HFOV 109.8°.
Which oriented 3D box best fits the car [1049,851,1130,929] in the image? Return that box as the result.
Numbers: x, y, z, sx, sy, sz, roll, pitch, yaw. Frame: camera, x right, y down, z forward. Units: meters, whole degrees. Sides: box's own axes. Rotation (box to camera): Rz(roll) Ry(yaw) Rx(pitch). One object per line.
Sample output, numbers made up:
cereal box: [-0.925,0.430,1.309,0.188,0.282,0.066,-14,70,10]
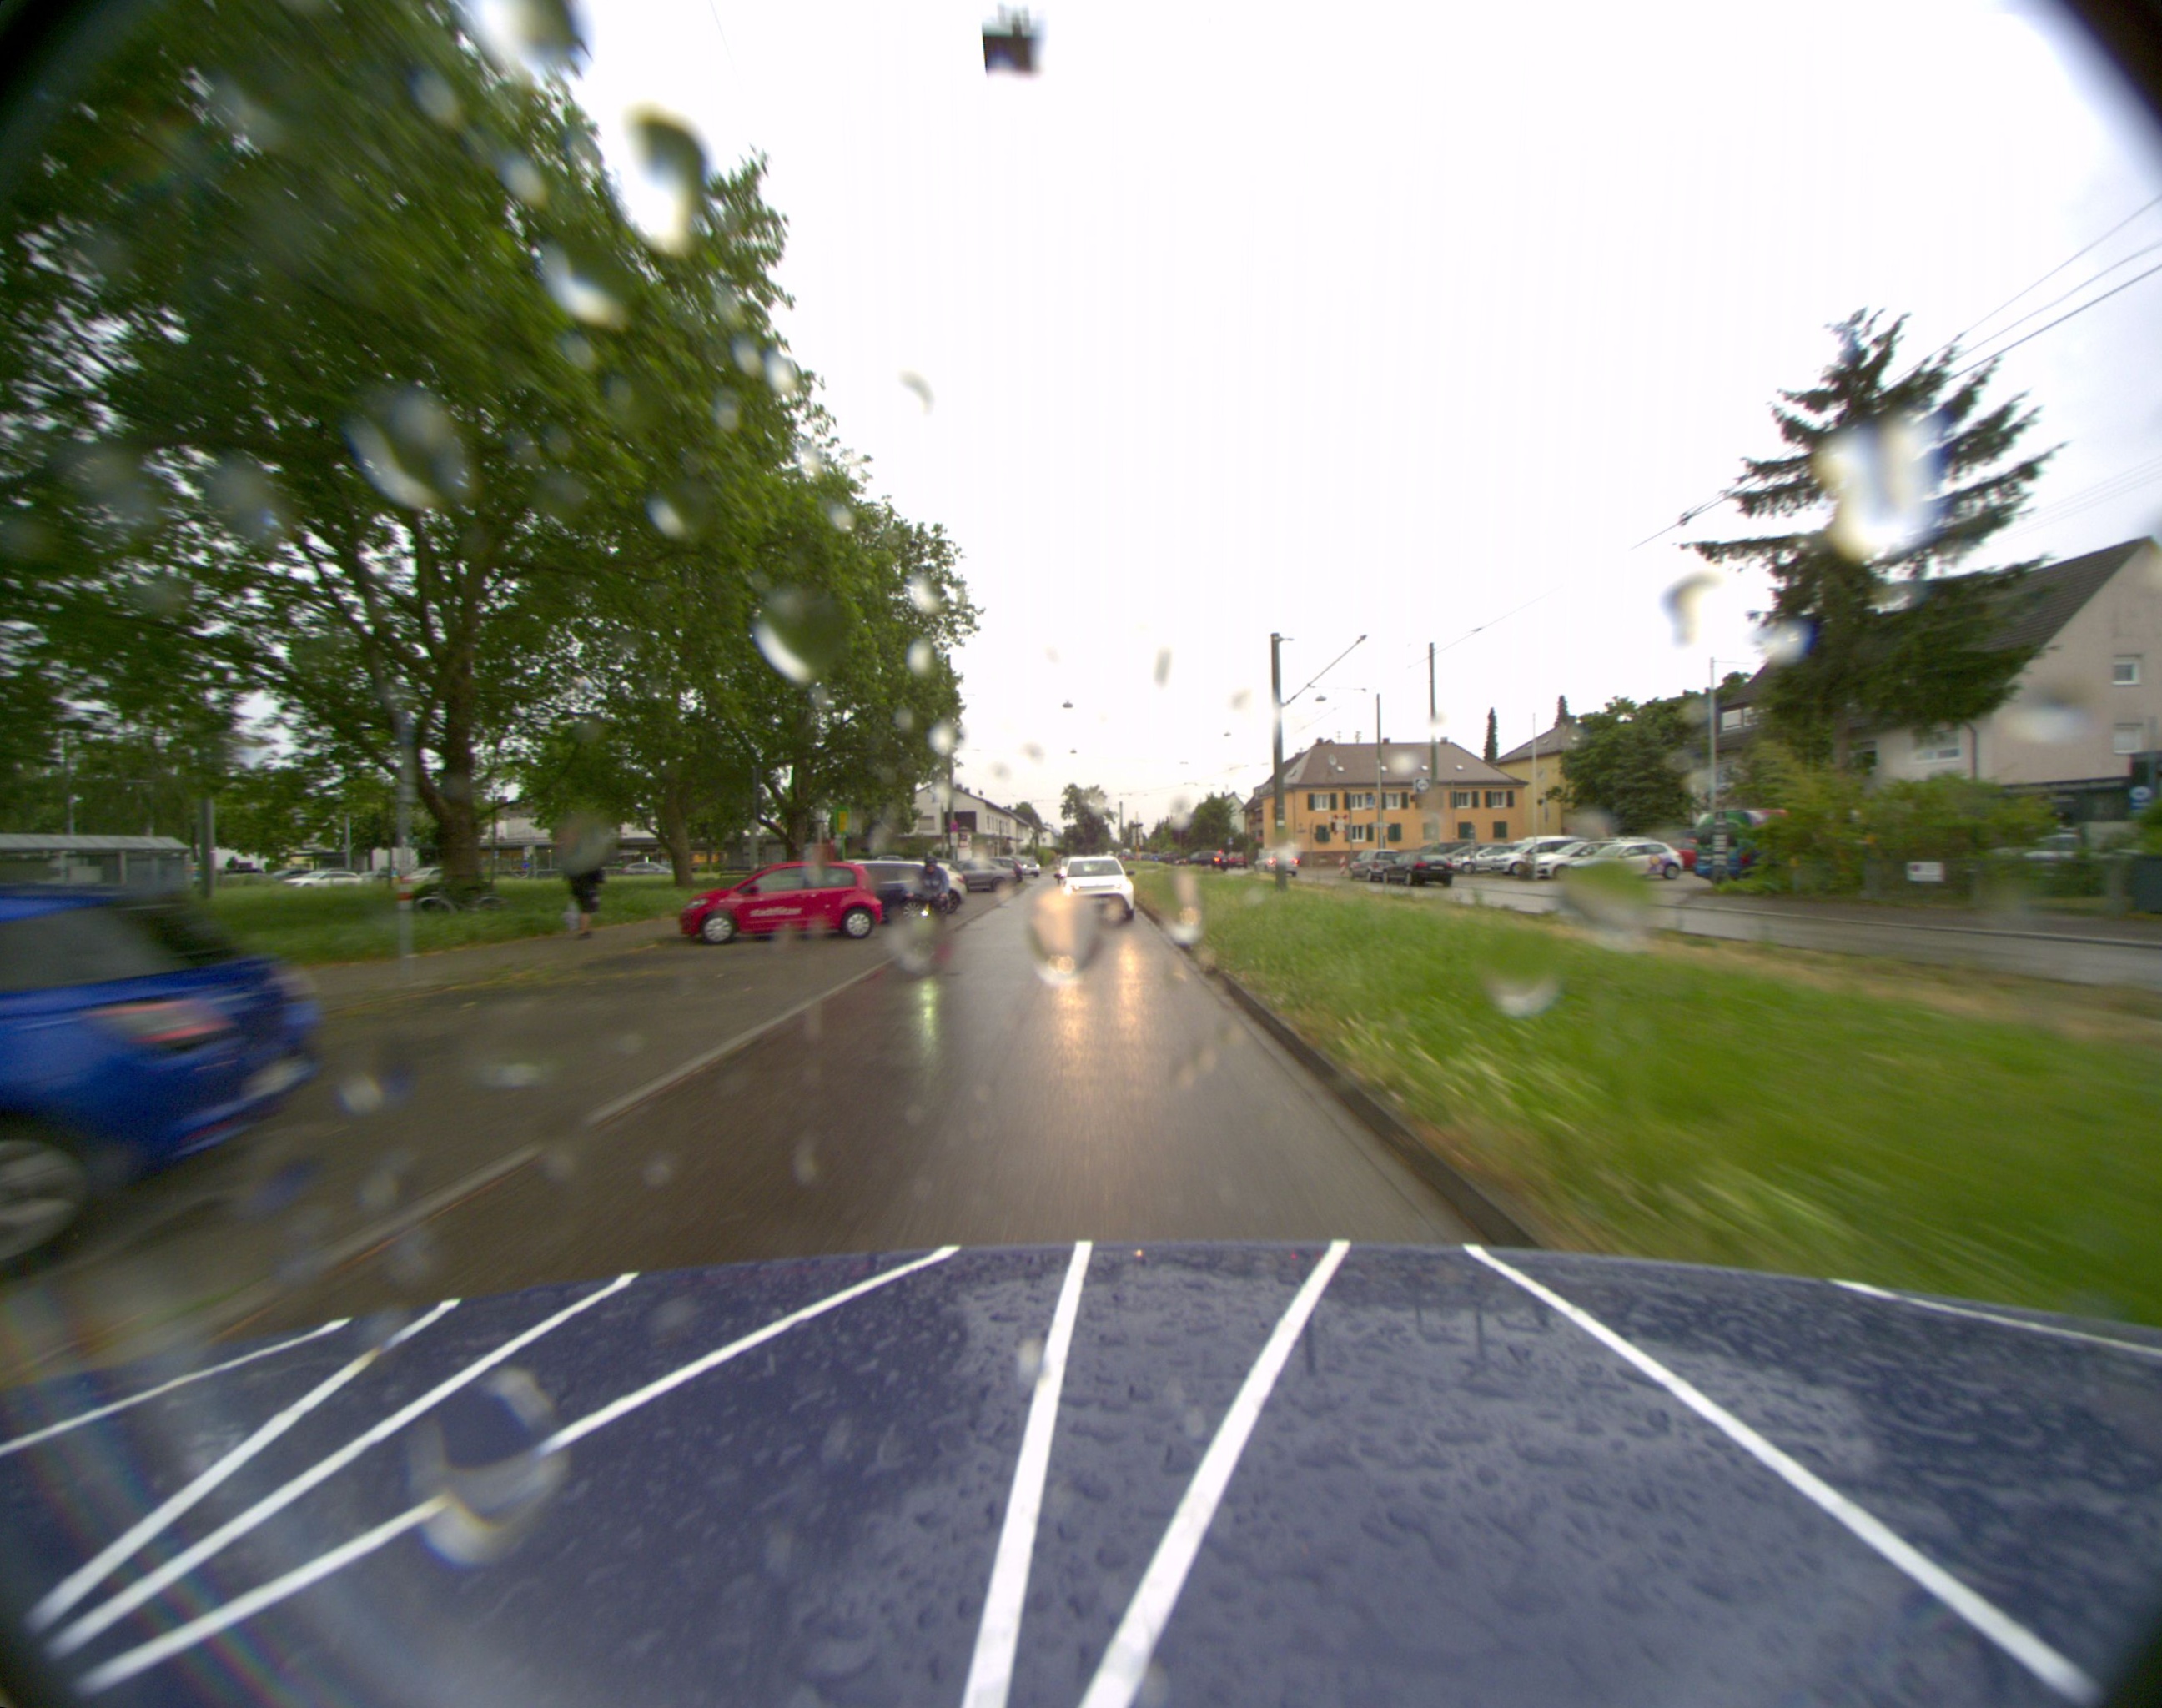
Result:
car: [0.219,0.792,18.879,1.719,1.614,3.714,-3,1,1]

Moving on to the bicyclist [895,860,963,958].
bicyclist: [-2.372,0.835,11.901,0.752,1.476,0.847,-1,0,11]

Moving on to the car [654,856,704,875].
car: [-35.995,1.000,68.143,3.625,1.495,1.549,-2,3,-16]

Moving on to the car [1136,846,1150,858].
car: [10.624,-0.395,130.011,1.999,1.784,3.998,-1,2,-1]

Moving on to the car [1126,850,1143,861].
car: [7.623,0.216,108.954,1.999,1.467,3.999,-1,0,-1]

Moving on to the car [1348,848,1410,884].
car: [14.549,0.553,37.266,1.721,1.496,3.643,-1,2,2]

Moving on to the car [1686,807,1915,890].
car: [22.506,-0.217,23.941,5.145,2.393,2.151,-1,3,0]

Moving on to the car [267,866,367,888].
car: [-53.554,1.601,53.384,1.998,1.449,4.844,-2,-1,3]

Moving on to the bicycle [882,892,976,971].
bicycle: [-2.348,1.178,12.019,0.754,1.066,1.929,-1,-1,11]

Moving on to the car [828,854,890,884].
car: [-16.658,1.123,57.245,3.996,2.003,1.999,-1,3,2]

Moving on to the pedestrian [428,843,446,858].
pedestrian: [-67.846,-0.357,80.007,0.946,1.575,1.081,0,1,13]

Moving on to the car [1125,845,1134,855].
car: [11.180,-0.914,175.929,1.998,2.023,3.998,-1,3,1]

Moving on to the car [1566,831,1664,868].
car: [25.666,-0.197,36.728,1.759,1.677,4.448,0,0,3]

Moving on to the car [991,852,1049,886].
car: [-4.305,0.990,53.362,2.003,2.003,3.987,-5,6,-41]

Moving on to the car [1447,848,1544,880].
car: [21.033,0.488,38.761,4.050,1.496,1.835,0,3,17]

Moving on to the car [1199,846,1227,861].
car: [13.679,-0.074,79.082,1.966,1.388,4.504,-1,1,-2]

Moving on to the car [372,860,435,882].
car: [-58.783,1.417,66.006,1.792,1.664,3.946,-1,2,1]

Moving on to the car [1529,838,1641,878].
car: [21.525,0.135,32.547,3.613,1.564,1.722,-1,3,4]

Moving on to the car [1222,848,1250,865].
car: [14.294,0.212,70.366,1.722,1.331,3.614,-1,2,-2]

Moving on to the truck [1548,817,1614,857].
truck: [30.267,-0.973,46.220,1.995,2.259,6.112,0,0,20]

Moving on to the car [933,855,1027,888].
car: [-4.915,0.810,37.111,4.183,1.467,1.800,-1,0,-30]

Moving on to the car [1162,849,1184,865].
car: [11.975,0.357,99.170,2.000,1.784,3.996,-2,2,-7]

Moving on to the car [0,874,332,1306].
car: [-5.655,0.854,2.614,4.006,1.474,1.996,-1,-1,-31]

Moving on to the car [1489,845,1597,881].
car: [21.452,0.401,35.412,3.867,1.569,1.809,-1,0,7]

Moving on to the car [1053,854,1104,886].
car: [-0.051,0.804,40.325,1.960,1.544,4.003,1,1,11]

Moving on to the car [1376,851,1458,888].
car: [14.457,0.619,32.958,1.721,1.331,4.387,-1,2,2]

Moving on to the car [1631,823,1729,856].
car: [32.908,-0.766,41.923,1.998,1.677,4.448,0,0,3]

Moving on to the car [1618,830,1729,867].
car: [28.125,-0.252,36.274,1.998,1.677,4.448,0,0,3]

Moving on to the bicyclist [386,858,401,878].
bicyclist: [-53.747,1.083,59.436,0.697,1.508,0.726,-1,2,42]

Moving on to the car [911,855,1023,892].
car: [-5.082,0.848,34.036,4.556,1.467,1.800,-1,0,-29]

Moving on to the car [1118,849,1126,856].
car: [11.553,-0.463,214.922,1.999,1.784,3.998,-1,2,-1]

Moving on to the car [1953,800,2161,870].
car: [26.240,-0.438,20.018,1.998,1.555,3.896,-2,-3,0]

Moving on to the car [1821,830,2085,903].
car: [21.288,0.367,18.856,1.998,1.555,3.896,-2,-3,0]

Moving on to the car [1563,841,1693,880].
car: [21.539,0.238,30.063,3.838,1.388,1.722,-1,3,3]

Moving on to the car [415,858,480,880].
car: [-55.915,1.318,67.190,1.998,1.664,4.336,-1,2,1]

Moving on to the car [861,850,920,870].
car: [-16.819,0.515,67.152,4.568,1.597,2.000,-1,3,4]

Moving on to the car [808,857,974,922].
car: [-5.225,0.904,21.104,4.008,1.544,1.955,0,2,-40]

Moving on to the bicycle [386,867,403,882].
bicycle: [-53.669,1.584,59.394,1.749,1.123,0.730,-1,2,42]

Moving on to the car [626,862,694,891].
car: [-32.018,1.679,57.840,3.996,2.003,1.999,-1,3,2]

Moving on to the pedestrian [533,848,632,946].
pedestrian: [-9.025,0.750,13.808,1.047,1.704,1.080,0,1,1]

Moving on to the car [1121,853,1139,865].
car: [6.362,0.688,98.610,1.999,1.467,3.999,-1,0,-1]

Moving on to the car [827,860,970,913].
car: [-5.746,1.010,24.137,4.009,1.492,1.819,2,0,-39]

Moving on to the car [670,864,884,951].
car: [-5.736,0.938,14.474,3.604,1.471,1.634,0,0,-26]

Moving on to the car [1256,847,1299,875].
car: [11.518,0.382,44.700,1.604,1.416,3.818,-1,2,1]

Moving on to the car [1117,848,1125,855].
car: [11.576,-0.757,222.043,1.999,1.784,3.998,-1,2,-1]

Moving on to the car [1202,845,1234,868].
car: [9.911,0.132,55.327,1.740,1.478,3.999,-1,2,2]

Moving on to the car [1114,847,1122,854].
car: [11.434,-1.066,234.602,1.999,1.784,3.998,-1,2,-1]

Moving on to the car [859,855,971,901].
car: [-5.952,0.817,27.301,3.523,1.497,1.749,0,1,-35]

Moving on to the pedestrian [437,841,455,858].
pedestrian: [-66.603,-0.451,79.687,0.946,1.704,1.081,0,1,13]

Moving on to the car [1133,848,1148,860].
car: [9.569,-0.034,121.824,1.999,1.784,3.998,-1,2,-1]

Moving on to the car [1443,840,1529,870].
car: [21.903,0.032,41.205,4.047,1.496,1.836,0,3,29]

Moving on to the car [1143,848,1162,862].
car: [10.414,0.103,110.943,2.000,1.784,3.996,-1,2,-6]

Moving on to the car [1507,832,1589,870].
car: [25.945,-0.150,42.423,1.998,2.002,4.448,0,0,3]

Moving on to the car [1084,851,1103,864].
car: [1.693,0.466,100.949,1.787,1.454,4.001,-1,2,10]

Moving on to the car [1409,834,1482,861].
car: [22.524,-0.368,47.031,3.861,1.569,1.811,-1,0,33]

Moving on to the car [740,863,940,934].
car: [-5.603,0.951,17.759,4.130,1.471,1.862,0,0,-31]
